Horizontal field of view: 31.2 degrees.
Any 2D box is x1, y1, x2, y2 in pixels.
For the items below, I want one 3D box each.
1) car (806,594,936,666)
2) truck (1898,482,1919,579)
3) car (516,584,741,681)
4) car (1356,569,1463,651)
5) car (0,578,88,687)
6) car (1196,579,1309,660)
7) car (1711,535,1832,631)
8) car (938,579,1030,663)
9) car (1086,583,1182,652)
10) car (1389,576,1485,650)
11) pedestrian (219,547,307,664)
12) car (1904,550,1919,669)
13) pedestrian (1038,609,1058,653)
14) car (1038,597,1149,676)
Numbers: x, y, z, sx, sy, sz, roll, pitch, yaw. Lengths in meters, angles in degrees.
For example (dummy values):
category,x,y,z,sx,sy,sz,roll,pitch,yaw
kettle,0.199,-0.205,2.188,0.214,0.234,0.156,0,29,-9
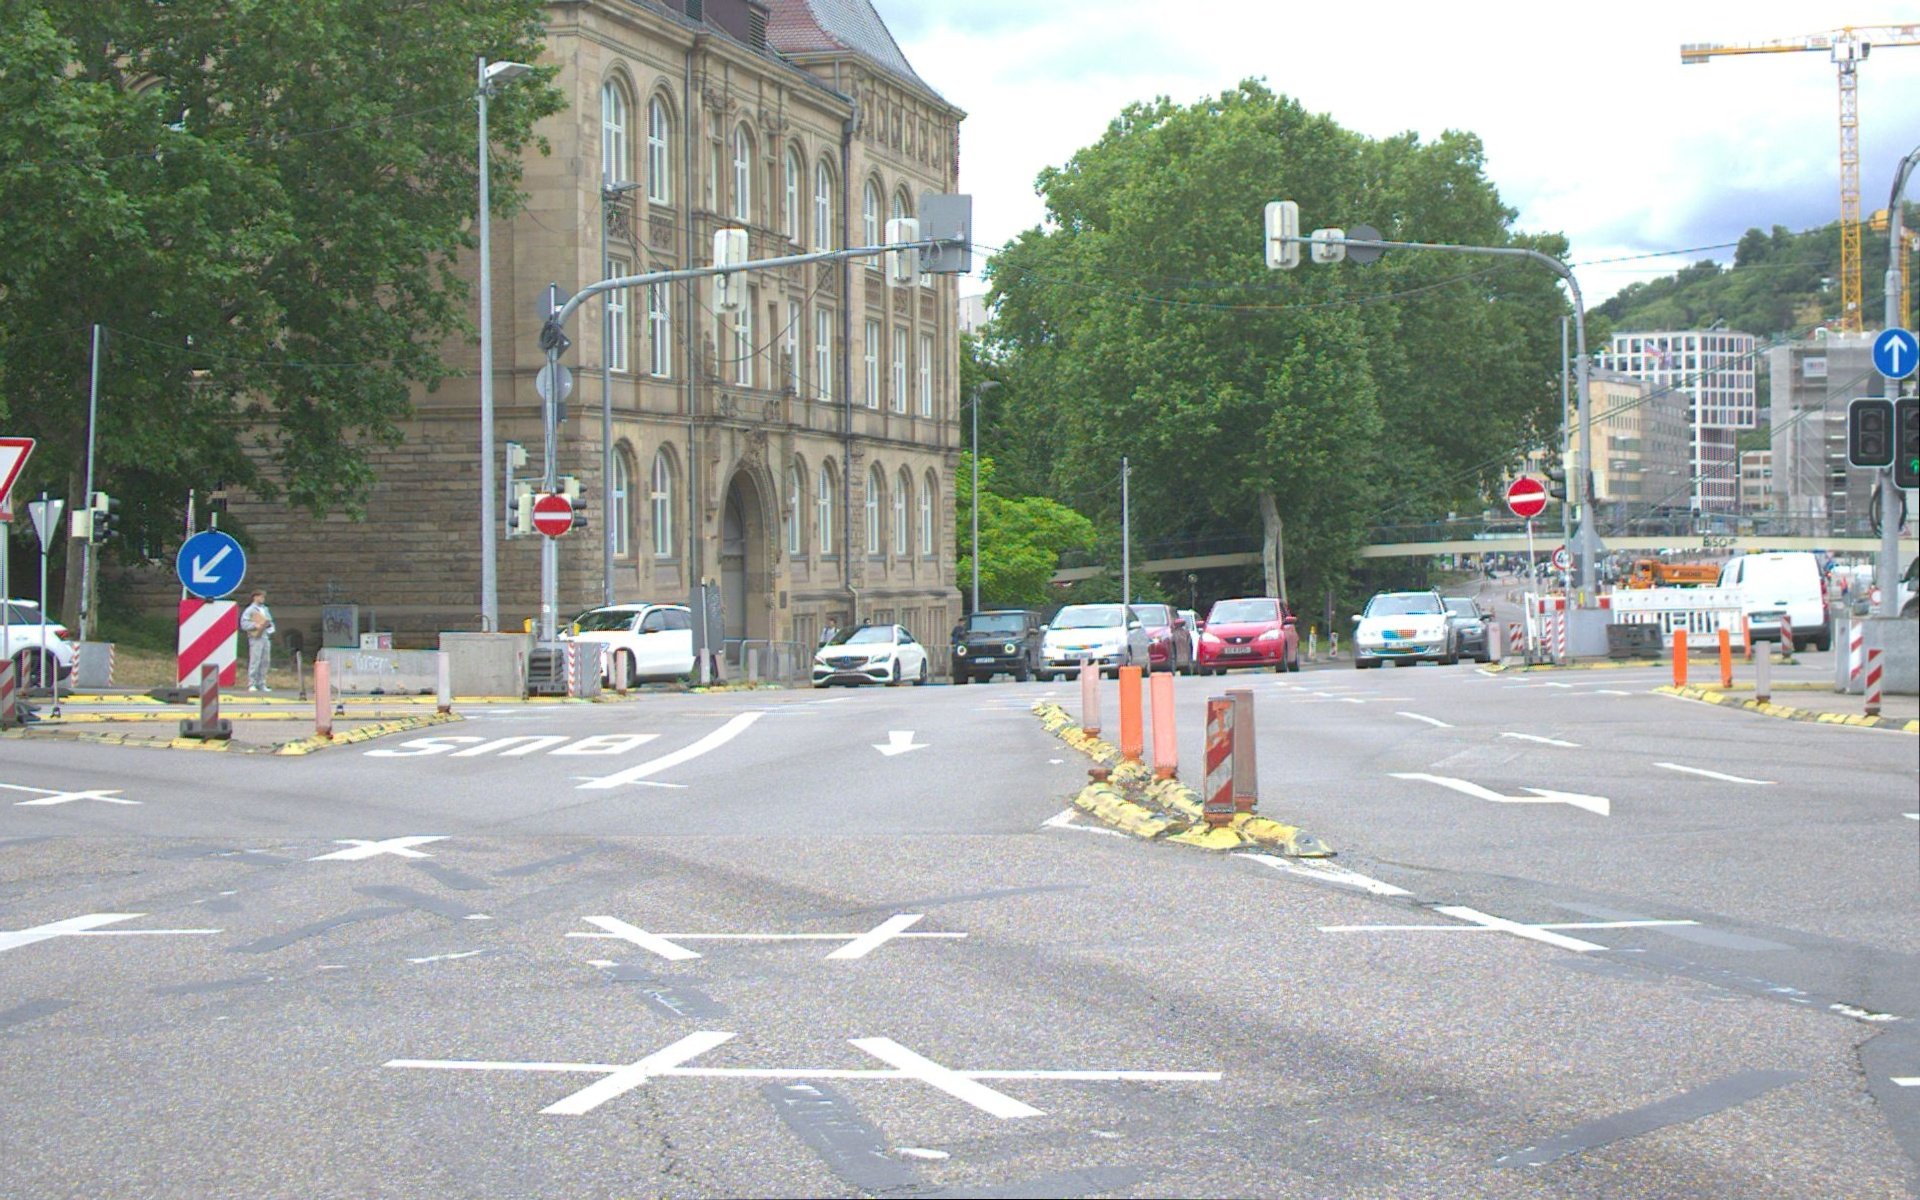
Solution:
category,x,y,z,sx,sy,sz,roll,pitch,yaw
car,-1.879,0.619,74.154,1.735,1.430,4.379,1,1,13
truck,17.671,-1.223,60.209,1.935,1.676,4.012,0,1,9
car,-5.966,0.558,62.358,1.814,1.637,4.545,1,1,29
car,8.437,0.192,64.298,1.689,1.430,3.445,-2,-1,11
car,-15.909,0.488,53.141,4.318,1.562,1.756,0,4,-37
car,5.530,0.348,64.700,1.686,1.430,3.445,-2,0,11
car,14.749,-0.292,62.625,1.759,1.681,3.641,-1,0,7
car,0.651,0.562,89.659,1.933,1.932,3.671,-2,-3,7
car,3.754,0.360,73.616,1.660,1.430,3.445,0,0,9
car,9.849,0.267,70.842,1.689,1.430,3.445,-2,-1,11
pedestrian,-12.162,0.094,59.974,1.190,2.007,1.204,0,0,-28
car,14.205,0.121,46.785,1.938,1.661,3.642,-1,0,4
pedestrian,3.229,1.137,126.107,0.660,1.630,0.850,-1,0,7
car,2.609,0.725,66.516,1.660,1.430,3.445,-2,-2,9
